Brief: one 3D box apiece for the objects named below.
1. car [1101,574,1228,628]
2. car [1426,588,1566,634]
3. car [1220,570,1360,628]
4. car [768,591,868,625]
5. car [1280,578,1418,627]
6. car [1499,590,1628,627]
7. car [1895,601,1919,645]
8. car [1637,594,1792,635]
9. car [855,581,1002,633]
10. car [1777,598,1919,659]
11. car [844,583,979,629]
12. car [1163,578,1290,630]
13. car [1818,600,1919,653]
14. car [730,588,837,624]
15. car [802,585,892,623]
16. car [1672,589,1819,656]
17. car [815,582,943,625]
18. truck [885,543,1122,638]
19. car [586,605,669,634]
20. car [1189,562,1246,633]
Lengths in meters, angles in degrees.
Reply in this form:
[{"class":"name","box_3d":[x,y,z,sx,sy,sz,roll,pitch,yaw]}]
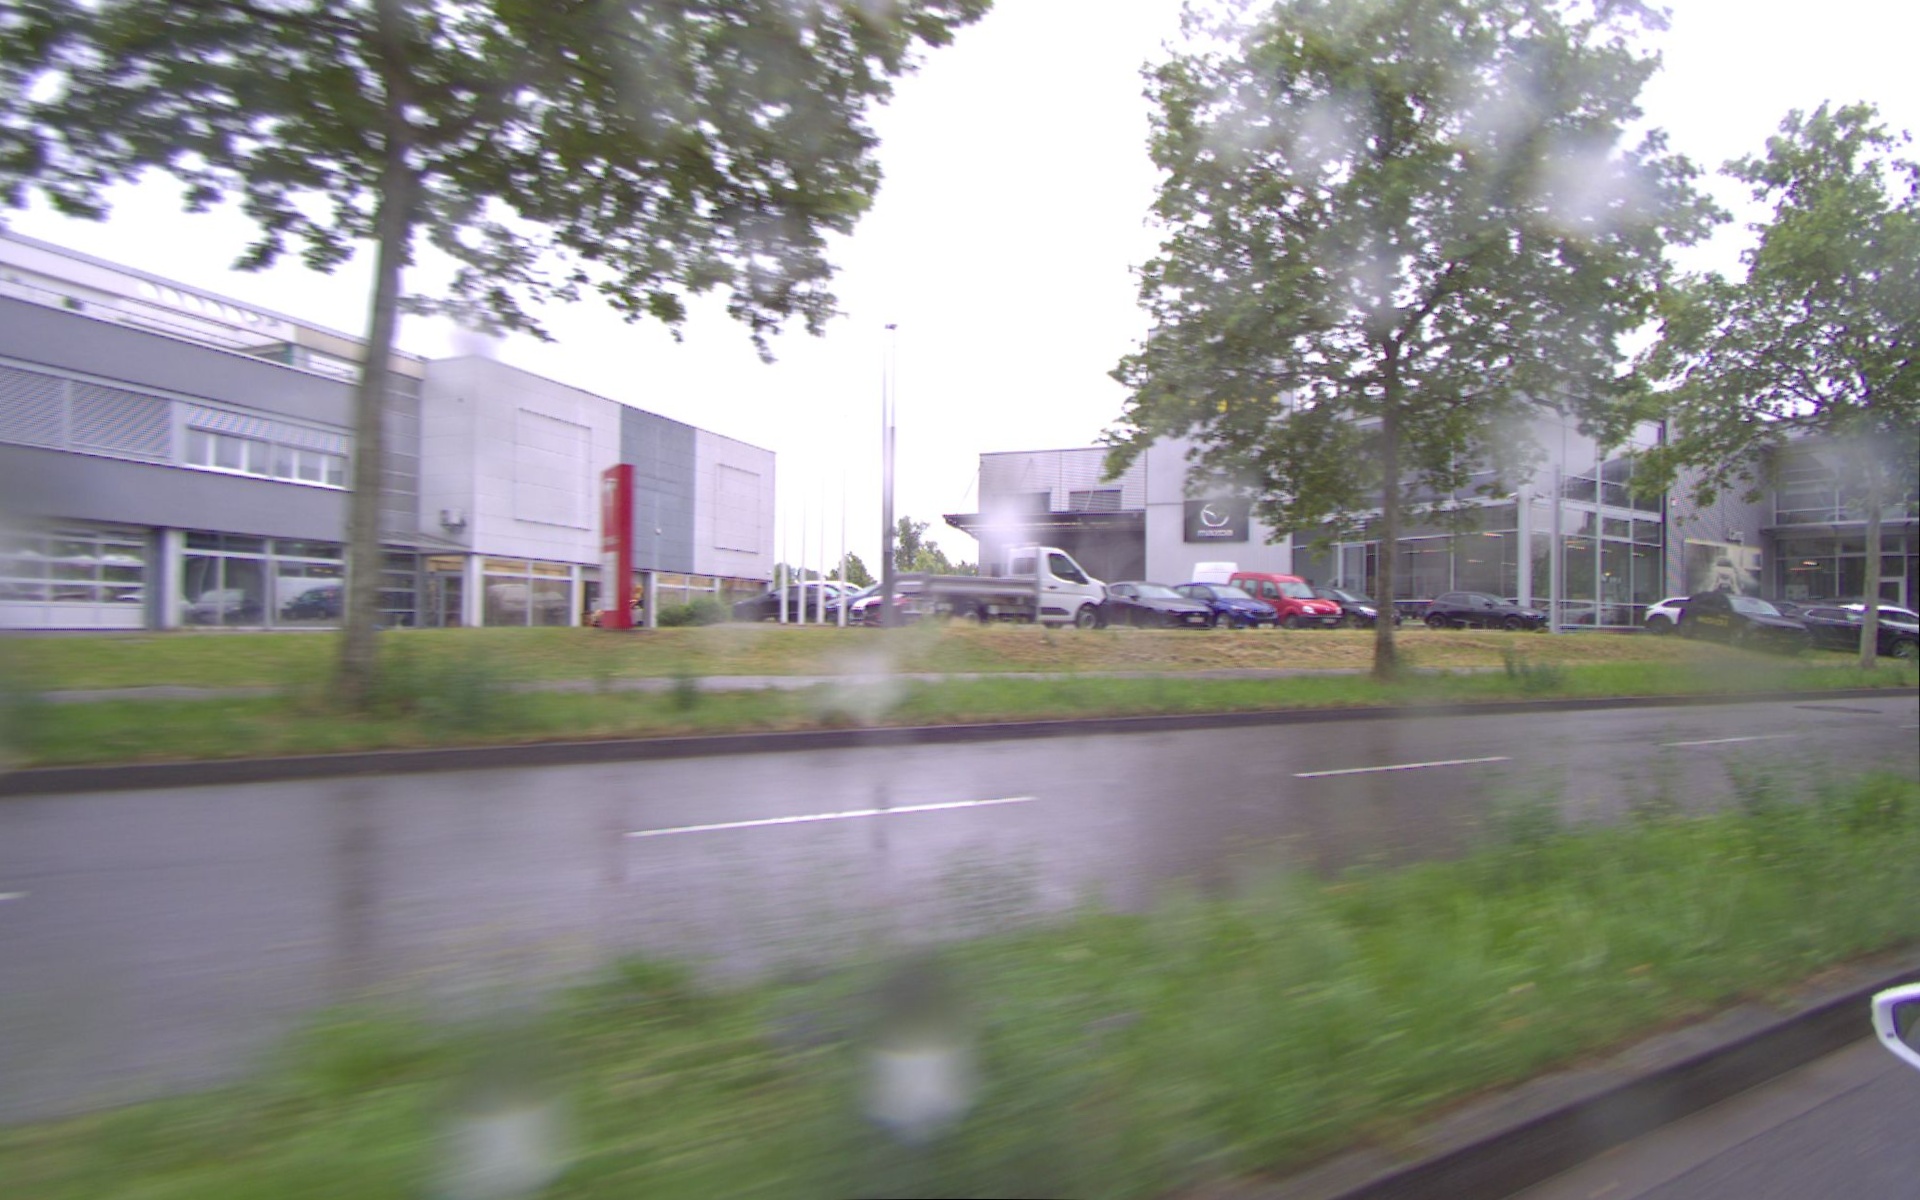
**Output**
[{"class":"car","box_3d":[5.717,-0.014,28.451,1.745,1.344,3.511,0,3,-26]},{"class":"car","box_3d":[18.818,0.327,35.371,1.834,1.376,3.957,-1,3,-43]},{"class":"car","box_3d":[9.997,-0.076,30.716,1.823,1.578,3.982,0,3,-25]},{"class":"car","box_3d":[-6.142,0.345,43.823,4.074,1.416,1.768,0,1,2]},{"class":"car","box_3d":[12.426,0.033,32.347,1.823,1.376,3.982,0,3,-25]},{"class":"car","box_3d":[25.937,0.362,43.320,1.900,1.493,4.393,1,0,-34]},{"class":"car","box_3d":[37.142,1.038,36.554,4.055,1.442,1.844,7,8,29]},{"class":"car","box_3d":[28.961,0.522,38.693,1.896,1.493,4.404,1,0,-28]},{"class":"car","box_3d":[-0.930,0.165,30.055,4.111,1.487,1.753,-1,1,-32]},{"class":"car","box_3d":[30.697,0.956,34.285,4.059,1.499,1.842,7,8,33]},{"class":"car","box_3d":[-1.576,0.167,32.841,4.111,1.415,1.753,-1,1,-32]},{"class":"car","box_3d":[7.741,0.080,29.465,1.745,1.344,3.511,0,3,-26]},{"class":"car","box_3d":[33.335,1.002,35.514,4.052,1.499,1.845,6,7,25]},{"class":"car","box_3d":[-7.223,0.245,41.347,4.074,1.416,1.768,0,1,2]},{"class":"car","box_3d":[-5.288,0.165,46.884,4.080,1.752,1.766,0,1,-8]},{"class":"car","box_3d":[26.413,0.676,34.015,1.810,1.578,4.436,4,7,8]},{"class":"car","box_3d":[-2.785,0.088,34.850,4.111,1.415,1.753,-1,1,-32]},{"class":"truck","box_3d":[1.205,-0.295,27.336,6.110,2.376,2.239,0,3,-25]},{"class":"car","box_3d":[-17.317,0.992,52.502,1.827,1.415,4.156,1,0,21]},{"class":"car","box_3d":[11.066,-0.119,42.932,2.127,2.789,5.340,2,1,16]}]
